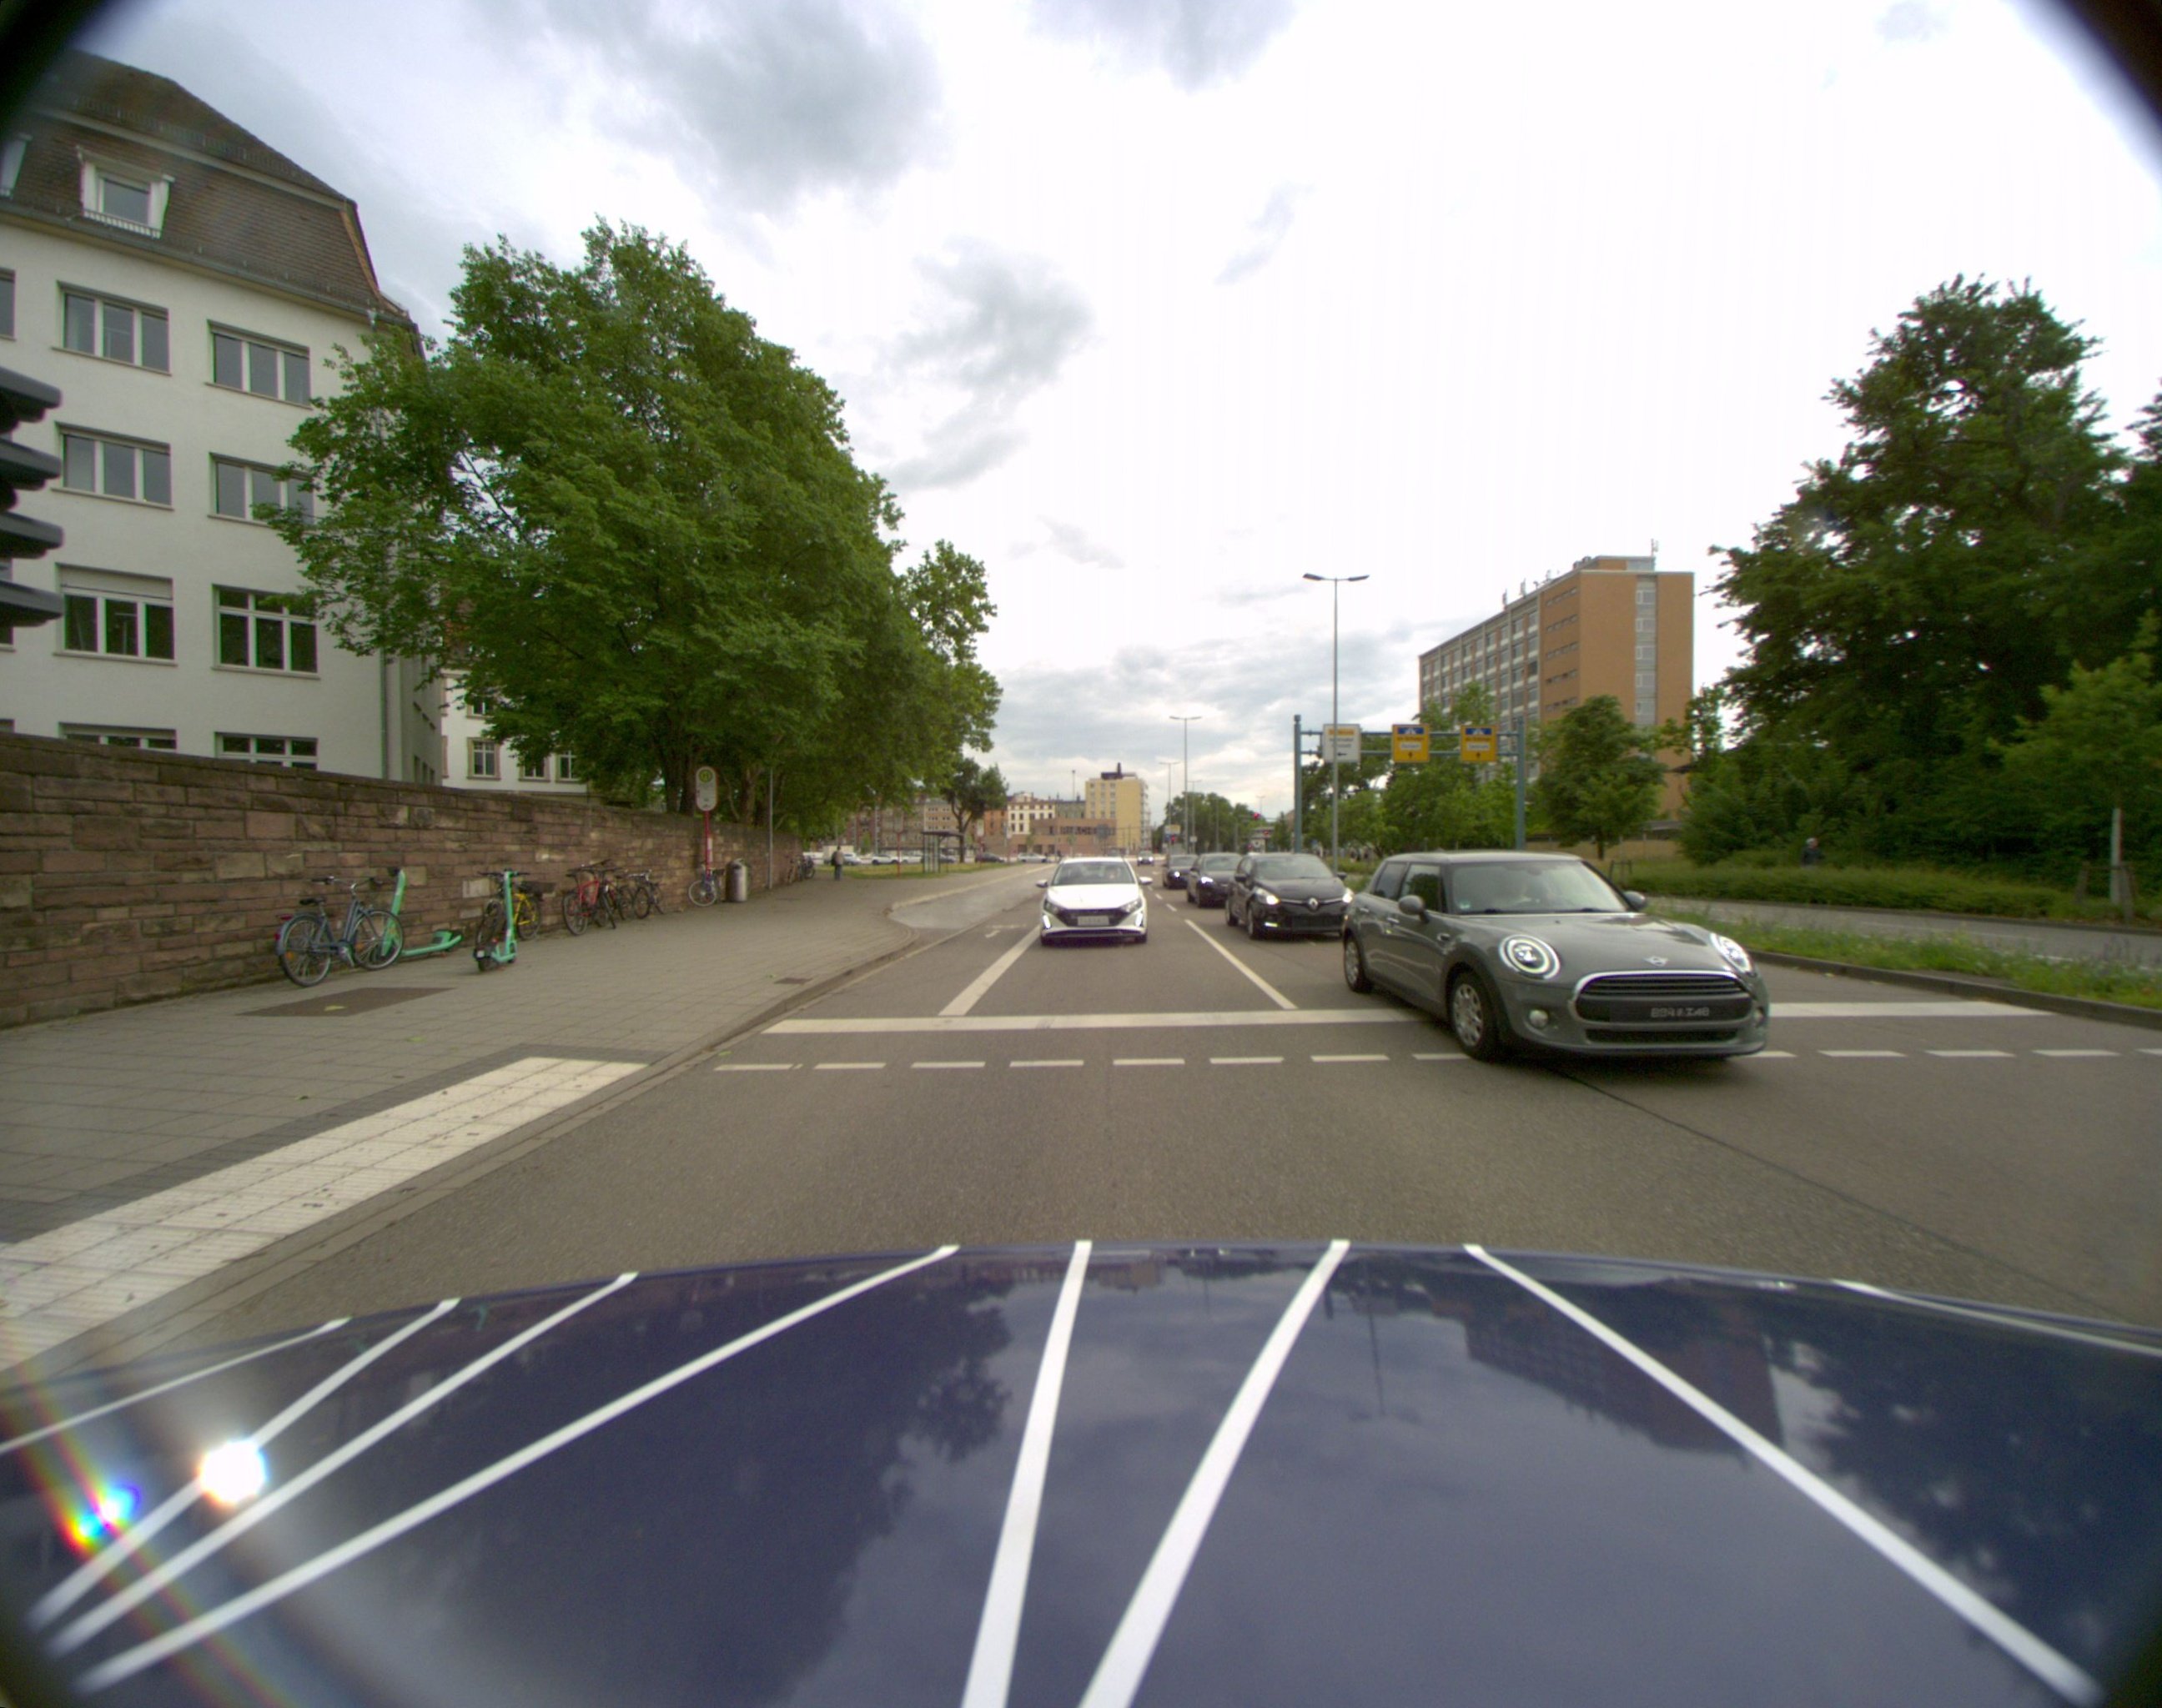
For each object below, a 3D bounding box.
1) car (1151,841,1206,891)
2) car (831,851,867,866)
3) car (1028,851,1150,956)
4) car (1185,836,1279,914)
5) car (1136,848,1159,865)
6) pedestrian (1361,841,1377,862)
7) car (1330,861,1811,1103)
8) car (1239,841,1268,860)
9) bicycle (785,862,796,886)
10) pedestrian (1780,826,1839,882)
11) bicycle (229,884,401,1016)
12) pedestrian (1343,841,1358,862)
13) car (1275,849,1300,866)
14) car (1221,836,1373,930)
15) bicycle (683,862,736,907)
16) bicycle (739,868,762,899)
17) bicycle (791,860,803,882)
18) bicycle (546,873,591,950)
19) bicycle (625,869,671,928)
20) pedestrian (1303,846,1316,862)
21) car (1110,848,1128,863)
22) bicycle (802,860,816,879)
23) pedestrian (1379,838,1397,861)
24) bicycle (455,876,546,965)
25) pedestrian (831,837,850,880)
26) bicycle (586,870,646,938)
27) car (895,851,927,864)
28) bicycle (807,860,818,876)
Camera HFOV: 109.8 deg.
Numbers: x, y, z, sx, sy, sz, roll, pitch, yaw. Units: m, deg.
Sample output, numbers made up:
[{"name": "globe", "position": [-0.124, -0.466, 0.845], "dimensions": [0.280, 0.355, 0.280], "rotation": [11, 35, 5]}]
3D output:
[{"name": "car", "position": [4.096, 0.476, 32.567], "dimensions": [1.998, 2.002, 4.000], "rotation": [0, 1, 2]}, {"name": "car", "position": [-32.381, 0.596, 106.229], "dimensions": [4.283, 2.002, 1.999], "rotation": [-2, 1, -2]}, {"name": "car", "position": [0.191, 0.722, 13.260], "dimensions": [1.813, 1.533, 4.000], "rotation": [0, 1, 2]}, {"name": "car", "position": [4.171, 0.522, 21.639], "dimensions": [1.998, 2.002, 4.000], "rotation": [0, 1, 2]}, {"name": "car", "position": [6.648, 0.249, 76.597], "dimensions": [1.998, 1.536, 4.000], "rotation": [-2, 0, 1]}, {"name": "pedestrian", "position": [27.327, -0.221, 72.070], "dimensions": [0.882, 2.002, 1.220], "rotation": [-2, 1, -6]}, {"name": "car", "position": [3.382, 0.746, 6.180], "dimensions": [1.625, 1.310, 3.705], "rotation": [0, 1, 2]}, {"name": "car", "position": [16.582, -0.361, 73.089], "dimensions": [1.893, 1.763, 4.000], "rotation": [-2, 1, 1]}, {"name": "bicycle", "position": [-11.550, 0.783, 30.236], "dimensions": [0.365, 0.934, 1.638], "rotation": [0, 1, -20]}, {"name": "pedestrian", "position": [21.940, -0.013, 22.904], "dimensions": [0.990, 1.616, 0.813], "rotation": [-2, 1, 0]}, {"name": "bicycle", "position": [-7.915, 0.920, 7.964], "dimensions": [0.386, 1.137, 1.939], "rotation": [-2, 1, -18]}, {"name": "pedestrian", "position": [26.102, -0.227, 73.546], "dimensions": [0.882, 2.002, 1.220], "rotation": [-2, 1, -6]}, {"name": "car", "position": [19.626, 0.296, 72.375], "dimensions": [1.853, 1.543, 4.002], "rotation": [-1, 1, 9]}, {"name": "car", "position": [3.678, 0.432, 13.658], "dimensions": [1.732, 1.450, 4.000], "rotation": [0, 1, 2]}, {"name": "bicycle", "position": [-9.432, 0.745, 19.349], "dimensions": [0.478, 1.070, 2.082], "rotation": [0, 1, -5]}, {"name": "bicycle", "position": [-10.138, 0.891, 23.313], "dimensions": [0.291, 0.880, 1.609], "rotation": [0, 1, -11]}, {"name": "bicycle", "position": [-12.837, 0.764, 34.406], "dimensions": [0.482, 0.934, 1.896], "rotation": [0, 1, -20]}, {"name": "bicycle", "position": [-8.477, 0.904, 12.598], "dimensions": [0.387, 1.137, 1.937], "rotation": [-3, 1, -28]}, {"name": "bicycle", "position": [-9.115, 0.900, 16.026], "dimensions": [0.339, 1.137, 1.676], "rotation": [-2, 1, -13]}, {"name": "pedestrian", "position": [29.943, 0.039, 99.503], "dimensions": [1.223, 2.002, 1.520], "rotation": [-2, 1, 2]}, {"name": "car", "position": [3.734, 0.139, 75.536], "dimensions": [1.606, 1.360, 3.579], "rotation": [-3, 0, 1]}, {"name": "bicycle", "position": [-14.119, 0.786, 39.396], "dimensions": [0.655, 0.934, 1.953], "rotation": [0, 1, -20]}, {"name": "pedestrian", "position": [27.107, -0.407, 67.172], "dimensions": [1.137, 1.908, 1.162], "rotation": [-2, 1, 5]}, {"name": "bicycle", "position": [-8.423, 0.914, 11.098], "dimensions": [0.386, 1.137, 1.939], "rotation": [-2, 1, -18]}, {"name": "pedestrian", "position": [-11.554, 0.208, 36.488], "dimensions": [0.784, 2.002, 0.887], "rotation": [2, 2, -15]}, {"name": "bicycle", "position": [-8.661, 0.898, 14.218], "dimensions": [0.339, 1.137, 1.939], "rotation": [-2, 1, -13]}, {"name": "car", "position": [-23.813, 0.440, 106.511], "dimensions": [3.998, 1.760, 1.999], "rotation": [0, 1, -4]}, {"name": "bicycle", "position": [-15.688, 0.809, 44.418], "dimensions": [0.569, 0.934, 1.765], "rotation": [0, 1, -21]}]
